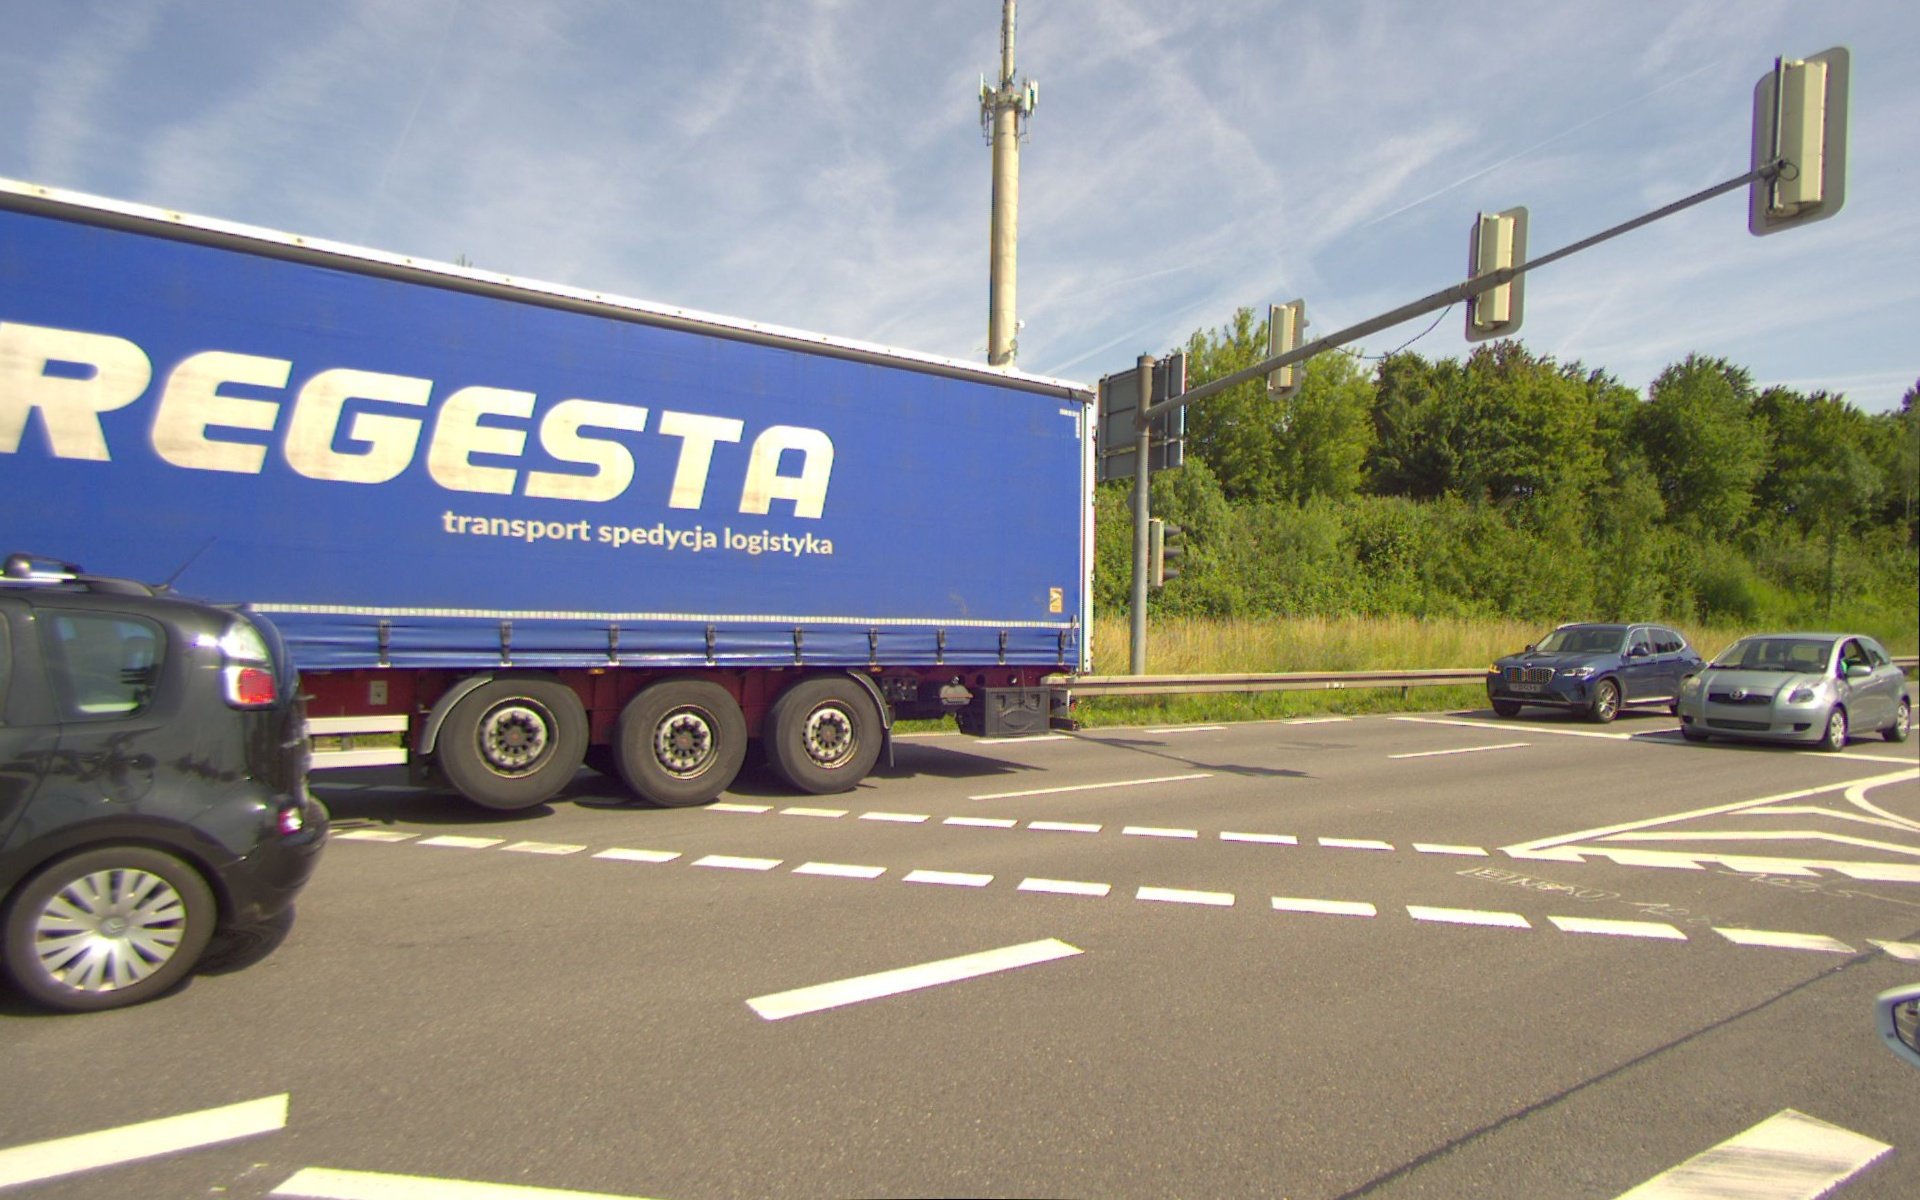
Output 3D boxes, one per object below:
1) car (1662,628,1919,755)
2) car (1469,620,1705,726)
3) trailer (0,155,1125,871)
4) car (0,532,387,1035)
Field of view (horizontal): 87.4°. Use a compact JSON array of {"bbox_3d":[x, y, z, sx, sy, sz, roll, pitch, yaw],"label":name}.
[{"bbox_3d":[11.598,1.176,13.937,3.958,1.522,1.715,2,-2,-33],"label":"car"},{"bbox_3d":[11.296,1.233,18.035,4.260,1.699,1.983,2,-2,-32],"label":"car"},{"bbox_3d":[-4.998,-0.445,7.958,13.971,4.133,3.076,2,-2,-32],"label":"trailer"},{"bbox_3d":[-4.555,0.634,3.891,3.957,1.748,1.982,2,-2,-33],"label":"car"}]
